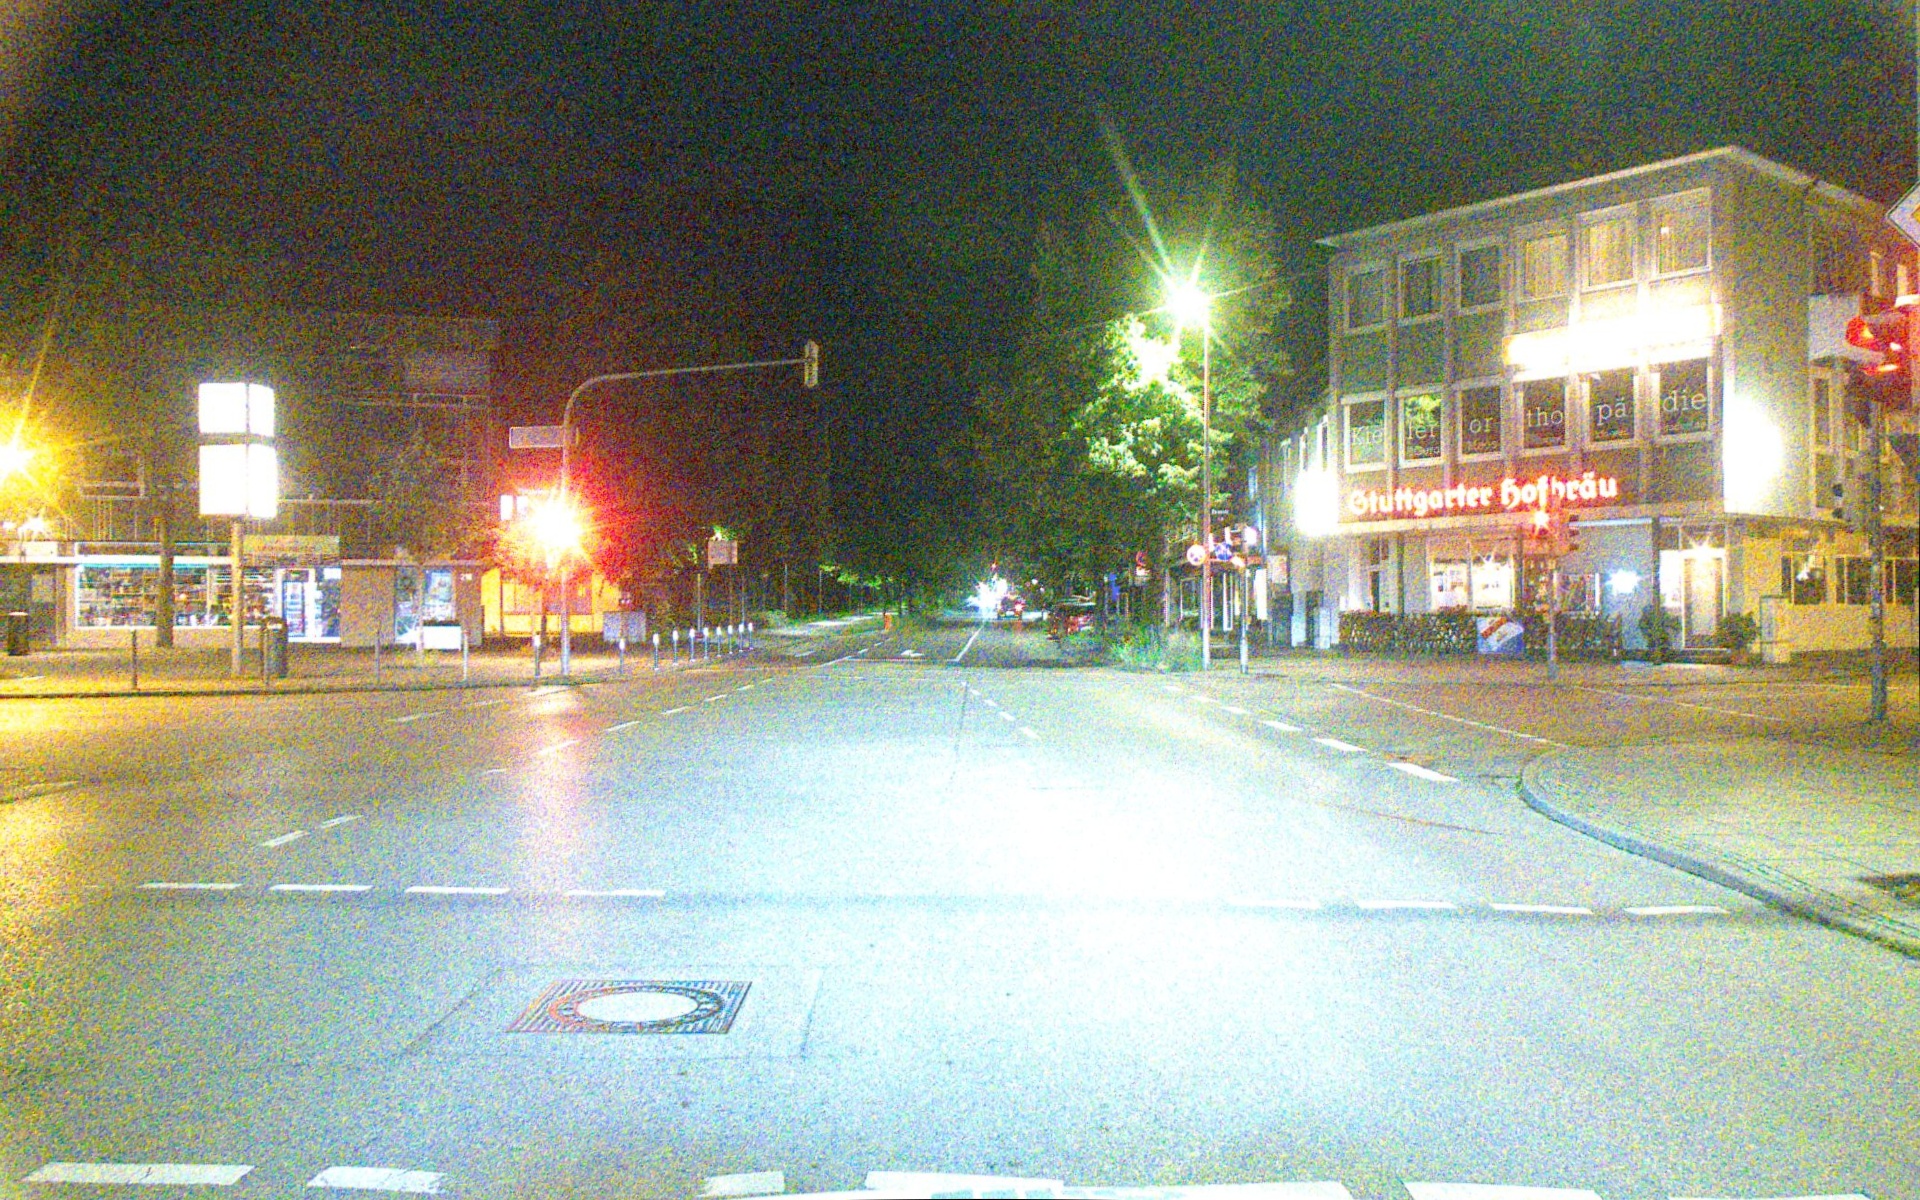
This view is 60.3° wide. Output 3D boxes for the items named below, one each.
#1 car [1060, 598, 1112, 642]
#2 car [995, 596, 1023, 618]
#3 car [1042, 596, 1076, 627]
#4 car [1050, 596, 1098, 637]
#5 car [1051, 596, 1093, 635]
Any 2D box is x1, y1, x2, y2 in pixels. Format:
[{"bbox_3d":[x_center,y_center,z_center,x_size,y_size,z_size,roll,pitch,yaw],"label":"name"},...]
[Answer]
[{"bbox_3d":[4.807,0.753,63.698,1.837,1.643,4.001,0,0,2],"label":"car"},{"bbox_3d":[3.411,0.464,115.715,1.835,1.479,4.316,1,0,0],"label":"car"},{"bbox_3d":[5.667,0.665,94.570,1.837,1.713,4.001,0,0,2],"label":"car"},{"bbox_3d":[4.729,0.685,68.867,1.837,1.643,4.001,0,0,2],"label":"car"},{"bbox_3d":[5.154,0.716,76.543,1.837,1.759,4.001,0,0,2],"label":"car"}]
